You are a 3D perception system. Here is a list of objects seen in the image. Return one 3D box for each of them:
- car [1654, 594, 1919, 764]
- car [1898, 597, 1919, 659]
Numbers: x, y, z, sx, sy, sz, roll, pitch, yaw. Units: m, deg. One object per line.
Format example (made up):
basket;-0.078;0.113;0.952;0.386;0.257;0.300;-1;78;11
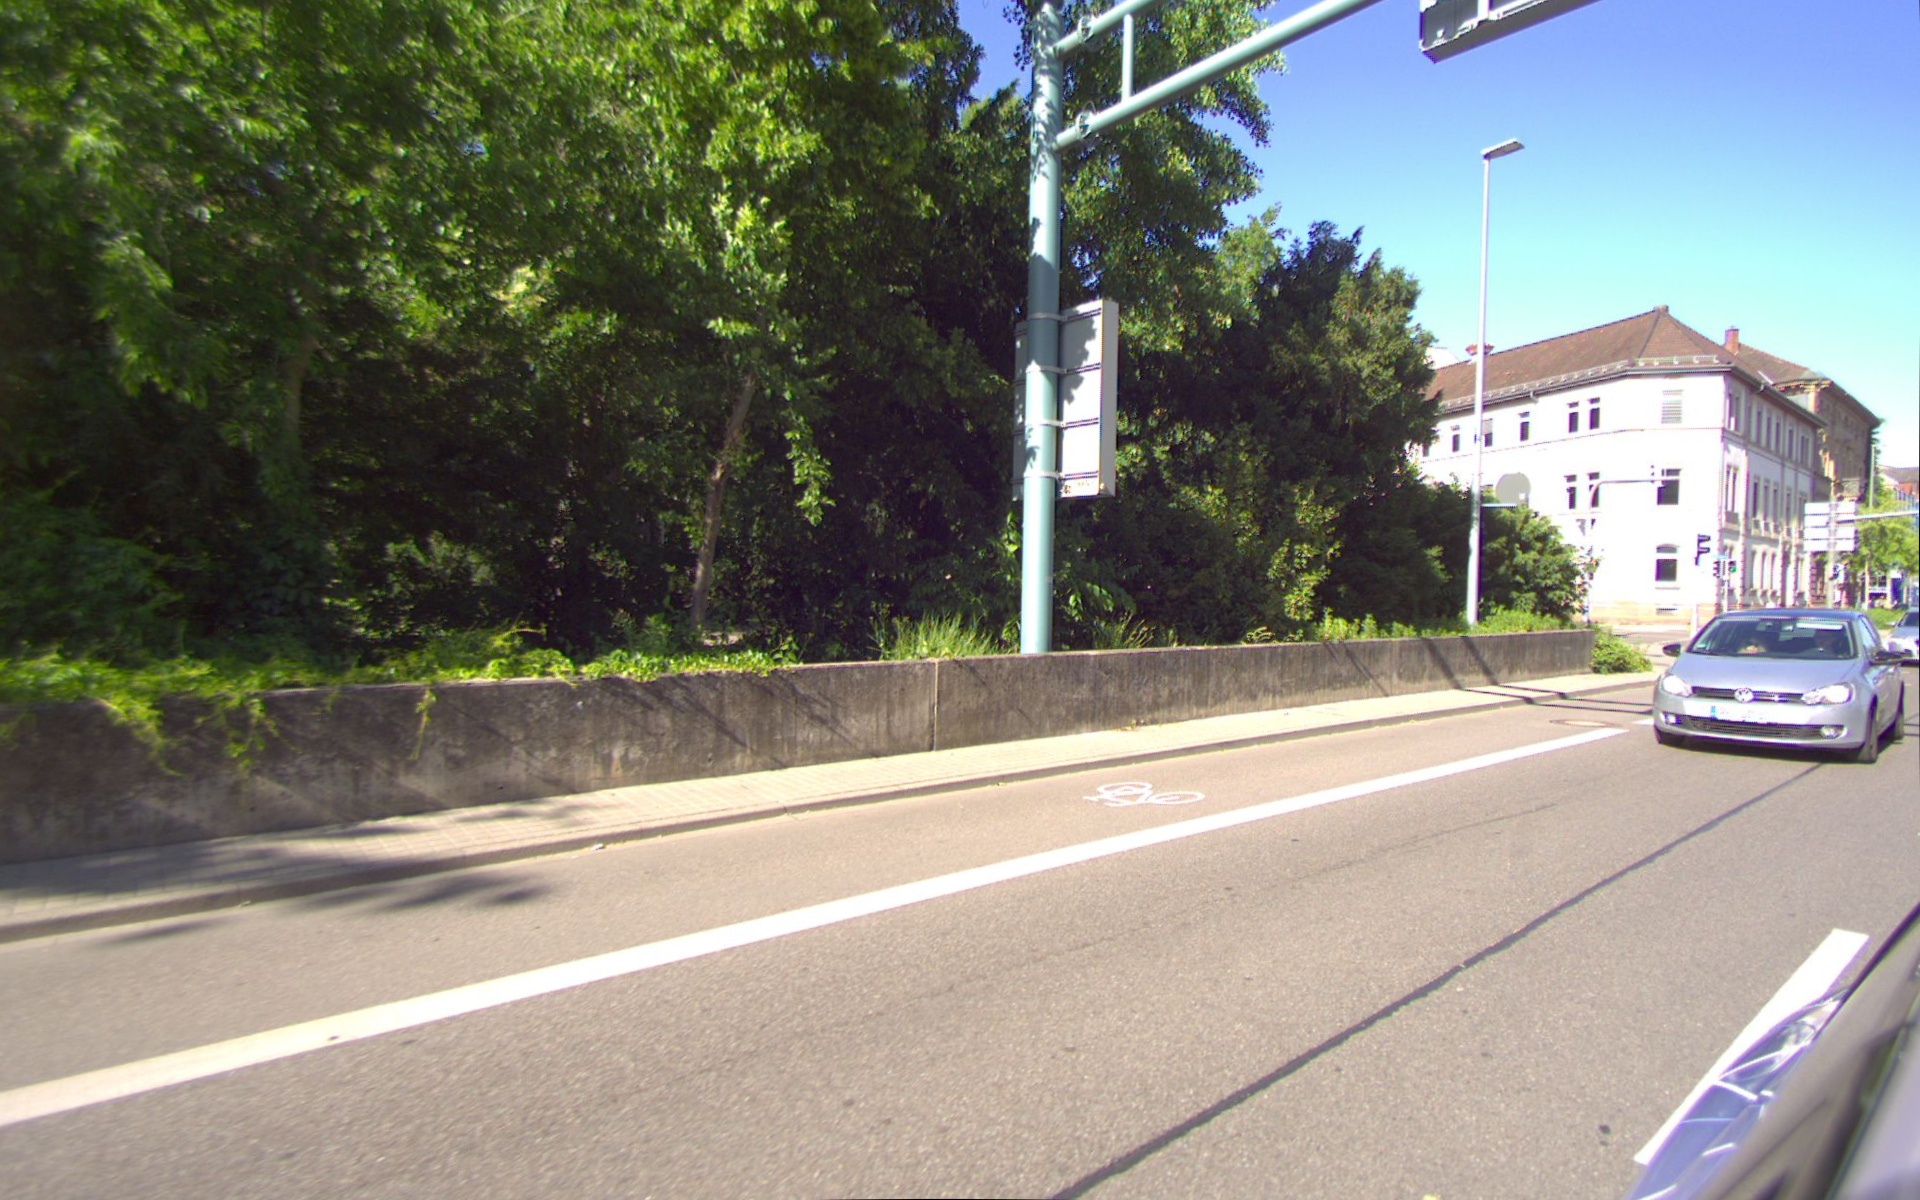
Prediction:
car;9.086;0.692;10.950;3.930;1.493;1.701;0;1;-41
car;24.374;0.670;24.674;3.930;1.442;1.837;0;1;-41
